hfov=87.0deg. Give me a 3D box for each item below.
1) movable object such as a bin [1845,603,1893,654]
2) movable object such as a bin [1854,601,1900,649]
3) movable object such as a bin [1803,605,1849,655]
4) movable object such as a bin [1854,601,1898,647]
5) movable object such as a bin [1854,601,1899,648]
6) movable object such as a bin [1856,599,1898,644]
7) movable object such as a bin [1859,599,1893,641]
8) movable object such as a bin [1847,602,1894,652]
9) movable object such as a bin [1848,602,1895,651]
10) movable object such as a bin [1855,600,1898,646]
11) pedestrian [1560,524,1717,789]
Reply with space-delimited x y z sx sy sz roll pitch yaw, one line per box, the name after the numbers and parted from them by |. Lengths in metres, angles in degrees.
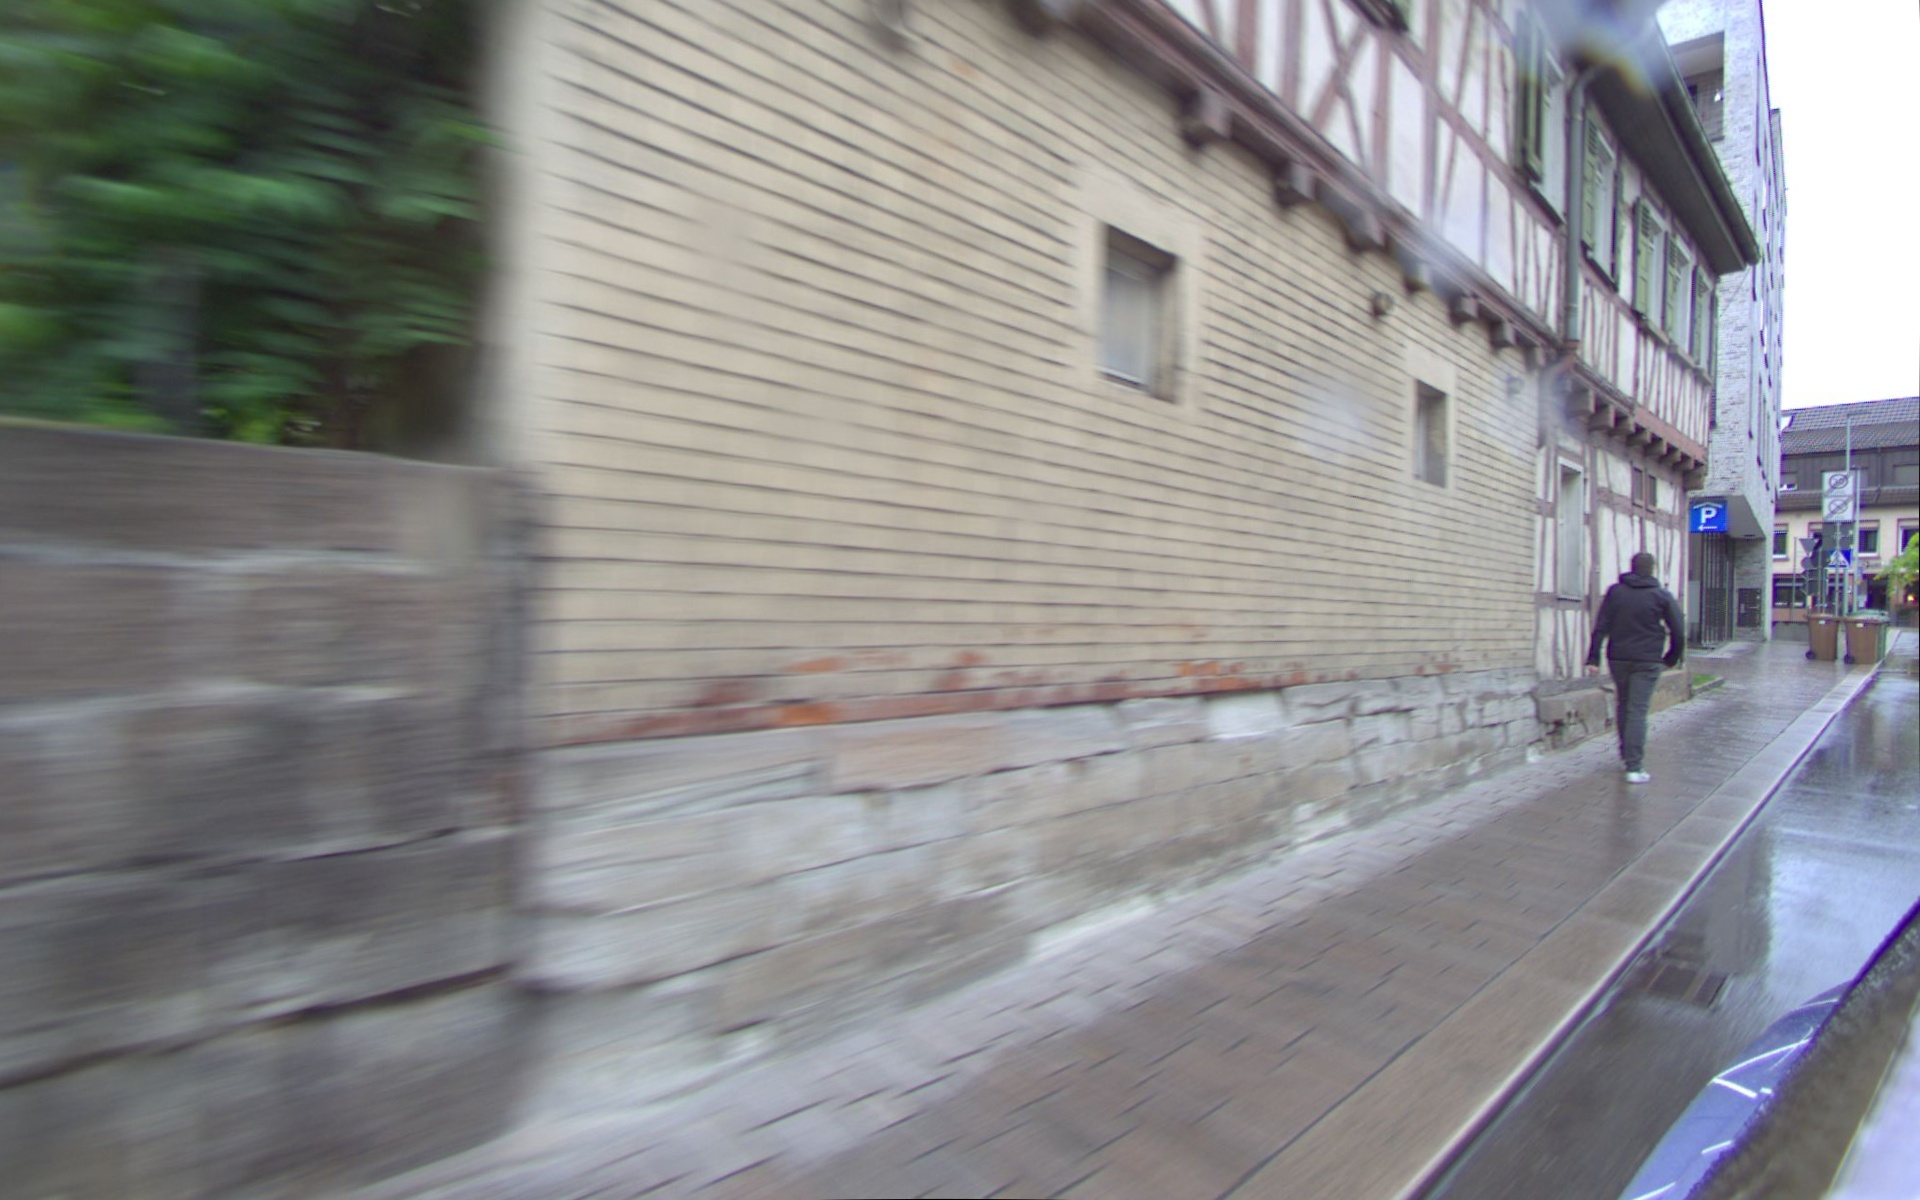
20.751 0.637 23.104 0.766 1.109 0.572 3 2 45 | movable object such as a bin
22.135 0.599 24.428 0.766 1.109 0.572 3 2 45 | movable object such as a bin
20.534 0.696 23.995 0.766 1.109 0.617 3 2 45 | movable object such as a bin
22.917 0.592 25.320 0.766 1.109 0.572 3 2 45 | movable object such as a bin
22.522 0.592 24.867 0.766 1.109 0.572 3 2 45 | movable object such as a bin
23.714 0.553 26.175 0.766 1.109 0.572 3 2 45 | movable object such as a bin
24.908 0.539 27.520 0.663 1.109 0.542 3 2 43 | movable object such as a bin
21.249 0.620 23.625 0.766 1.109 0.572 3 2 45 | movable object such as a bin
21.653 0.610 24.047 0.766 1.109 0.572 3 2 45 | movable object such as a bin
23.318 0.581 25.755 0.766 1.109 0.572 3 2 45 | movable object such as a bin
5.283 0.389 7.878 0.810 1.908 0.894 4 2 43 | pedestrian
